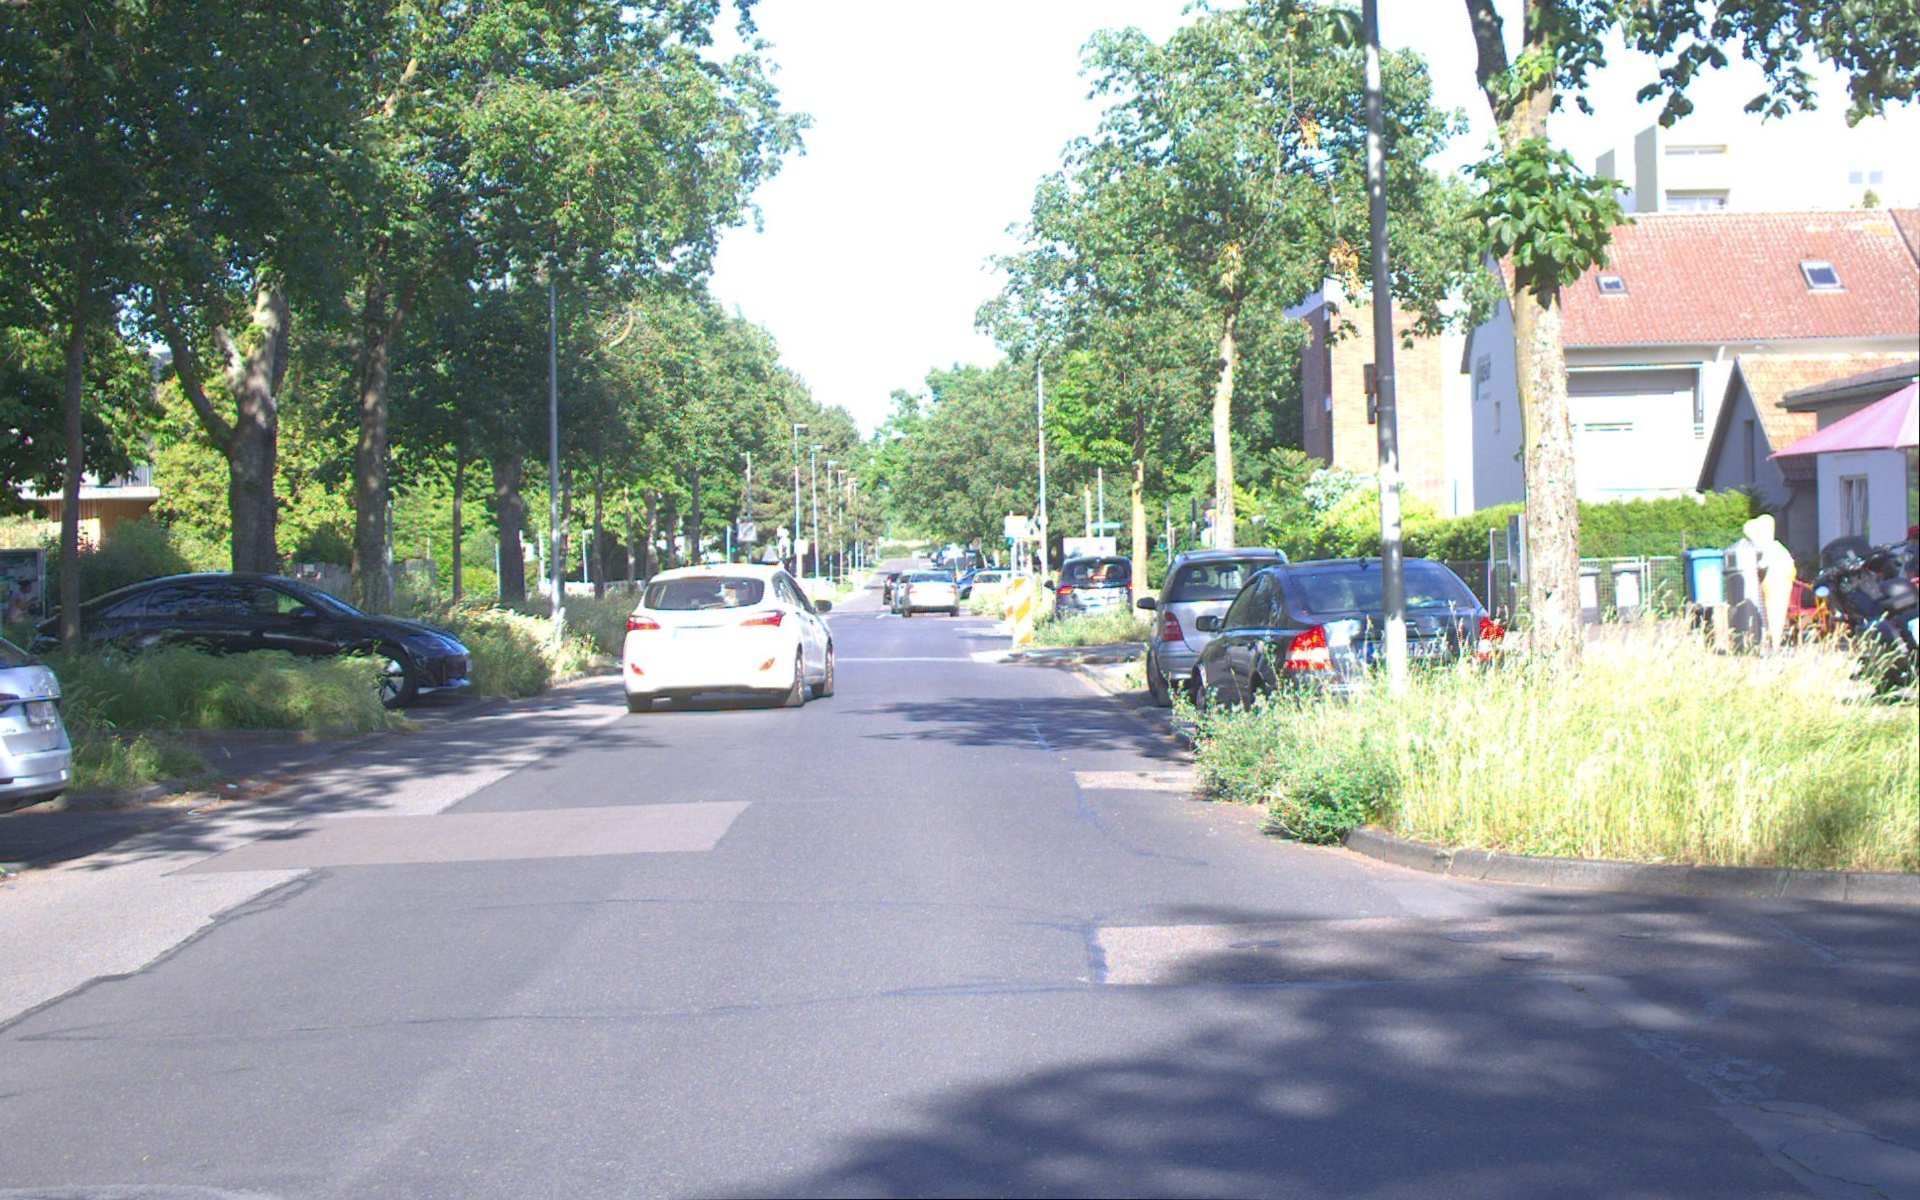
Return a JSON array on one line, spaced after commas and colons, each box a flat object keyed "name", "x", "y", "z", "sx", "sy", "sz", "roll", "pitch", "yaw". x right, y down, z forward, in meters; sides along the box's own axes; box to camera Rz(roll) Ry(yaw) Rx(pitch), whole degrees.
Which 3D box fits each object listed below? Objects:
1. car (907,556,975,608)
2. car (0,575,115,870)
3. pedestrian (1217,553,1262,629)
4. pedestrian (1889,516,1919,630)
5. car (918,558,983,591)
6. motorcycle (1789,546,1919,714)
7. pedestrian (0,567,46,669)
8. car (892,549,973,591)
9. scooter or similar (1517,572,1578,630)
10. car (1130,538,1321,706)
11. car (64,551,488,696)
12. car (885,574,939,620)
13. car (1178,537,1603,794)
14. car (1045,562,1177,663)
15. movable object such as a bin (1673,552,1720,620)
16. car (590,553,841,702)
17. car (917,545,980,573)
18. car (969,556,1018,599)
[{"name": "car", "x": -0.604, "y": -0.569, "z": 106.524, "sx": 1.993, "sy": 1.503, "sz": 3.658, "roll": 2, "pitch": 0, "yaw": -1}, {"name": "car", "x": -7.167, "y": 0.631, "z": 18.600, "sx": 4.671, "sy": 1.498, "sz": 2.000, "roll": 0, "pitch": 1, "yaw": 1}, {"name": "pedestrian", "x": 7.476, "y": -0.255, "z": 92.055, "sx": 1.112, "sy": 2.007, "sz": 0.922, "roll": -1, "pitch": 1, "yaw": -1}, {"name": "pedestrian", "x": 11.614, "y": -0.324, "z": 41.898, "sx": 0.439, "sy": 1.380, "sz": 0.639, "roll": 1, "pitch": 0, "yaw": 5}, {"name": "car", "x": -0.616, "y": -1.594, "z": 213.925, "sx": 3.986, "sy": 2.007, "sz": 2.000, "roll": 0, "pitch": 1, "yaw": -2}, {"name": "motorcycle", "x": 7.214, "y": 0.207, "z": 26.866, "sx": 0.818, "sy": 1.223, "sz": 2.352, "roll": -2, "pitch": 1, "yaw": -1}, {"name": "pedestrian", "x": -17.227, "y": 0.324, "z": 62.218, "sx": 1.224, "sy": 1.821, "sz": 1.551, "roll": 1, "pitch": 0, "yaw": -17}, {"name": "car", "x": -1.394, "y": -1.486, "z": 172.069, "sx": 3.986, "sy": 2.007, "sz": 2.000, "roll": 0, "pitch": -1, "yaw": -2}, {"name": "scooter or similar", "x": 8.847, "y": 0.005, "z": 51.777, "sx": 0.368, "sy": 0.855, "sz": 1.412, "roll": -1, "pitch": 1, "yaw": -14}, {"name": "car", "x": 2.764, "y": 0.207, "z": 36.570, "sx": 1.610, "sy": 1.616, "sz": 4.382, "roll": 2, "pitch": 0, "yaw": 0}, {"name": "car", "x": -7.561, "y": 0.248, "z": 38.294, "sx": 4.367, "sy": 1.526, "sz": 1.808, "roll": 1, "pitch": 0, "yaw": -1}, {"name": "car", "x": -1.671, "y": -0.116, "z": 120.346, "sx": 1.816, "sy": 1.503, "sz": 3.658, "roll": 2, "pitch": 0, "yaw": -1}, {"name": "car", "x": 2.973, "y": 0.410, "z": 24.746, "sx": 1.993, "sy": 1.616, "sz": 4.382, "roll": 2, "pitch": 0, "yaw": -7}, {"name": "car", "x": 2.750, "y": 0.237, "z": 63.525, "sx": 1.993, "sy": 1.722, "sz": 4.000, "roll": -2, "pitch": 0, "yaw": -3}, {"name": "movable object such as a bin", "x": 11.506, "y": -0.217, "z": 53.724, "sx": 0.493, "sy": 1.028, "sz": 0.747, "roll": -4, "pitch": 0, "yaw": -2}, {"name": "car", "x": -2.506, "y": 0.244, "z": 36.284, "sx": 1.994, "sy": 1.450, "sz": 4.224, "roll": 0, "pitch": 1, "yaw": 5}, {"name": "car", "x": -0.779, "y": -2.670, "z": 224.190, "sx": 3.986, "sy": 1.744, "sz": 2.000, "roll": -1, "pitch": 1, "yaw": -3}, {"name": "car", "x": 1.260, "y": -0.853, "z": 130.139, "sx": 1.733, "sy": 1.503, "sz": 3.658, "roll": 2, "pitch": 0, "yaw": -1}]
